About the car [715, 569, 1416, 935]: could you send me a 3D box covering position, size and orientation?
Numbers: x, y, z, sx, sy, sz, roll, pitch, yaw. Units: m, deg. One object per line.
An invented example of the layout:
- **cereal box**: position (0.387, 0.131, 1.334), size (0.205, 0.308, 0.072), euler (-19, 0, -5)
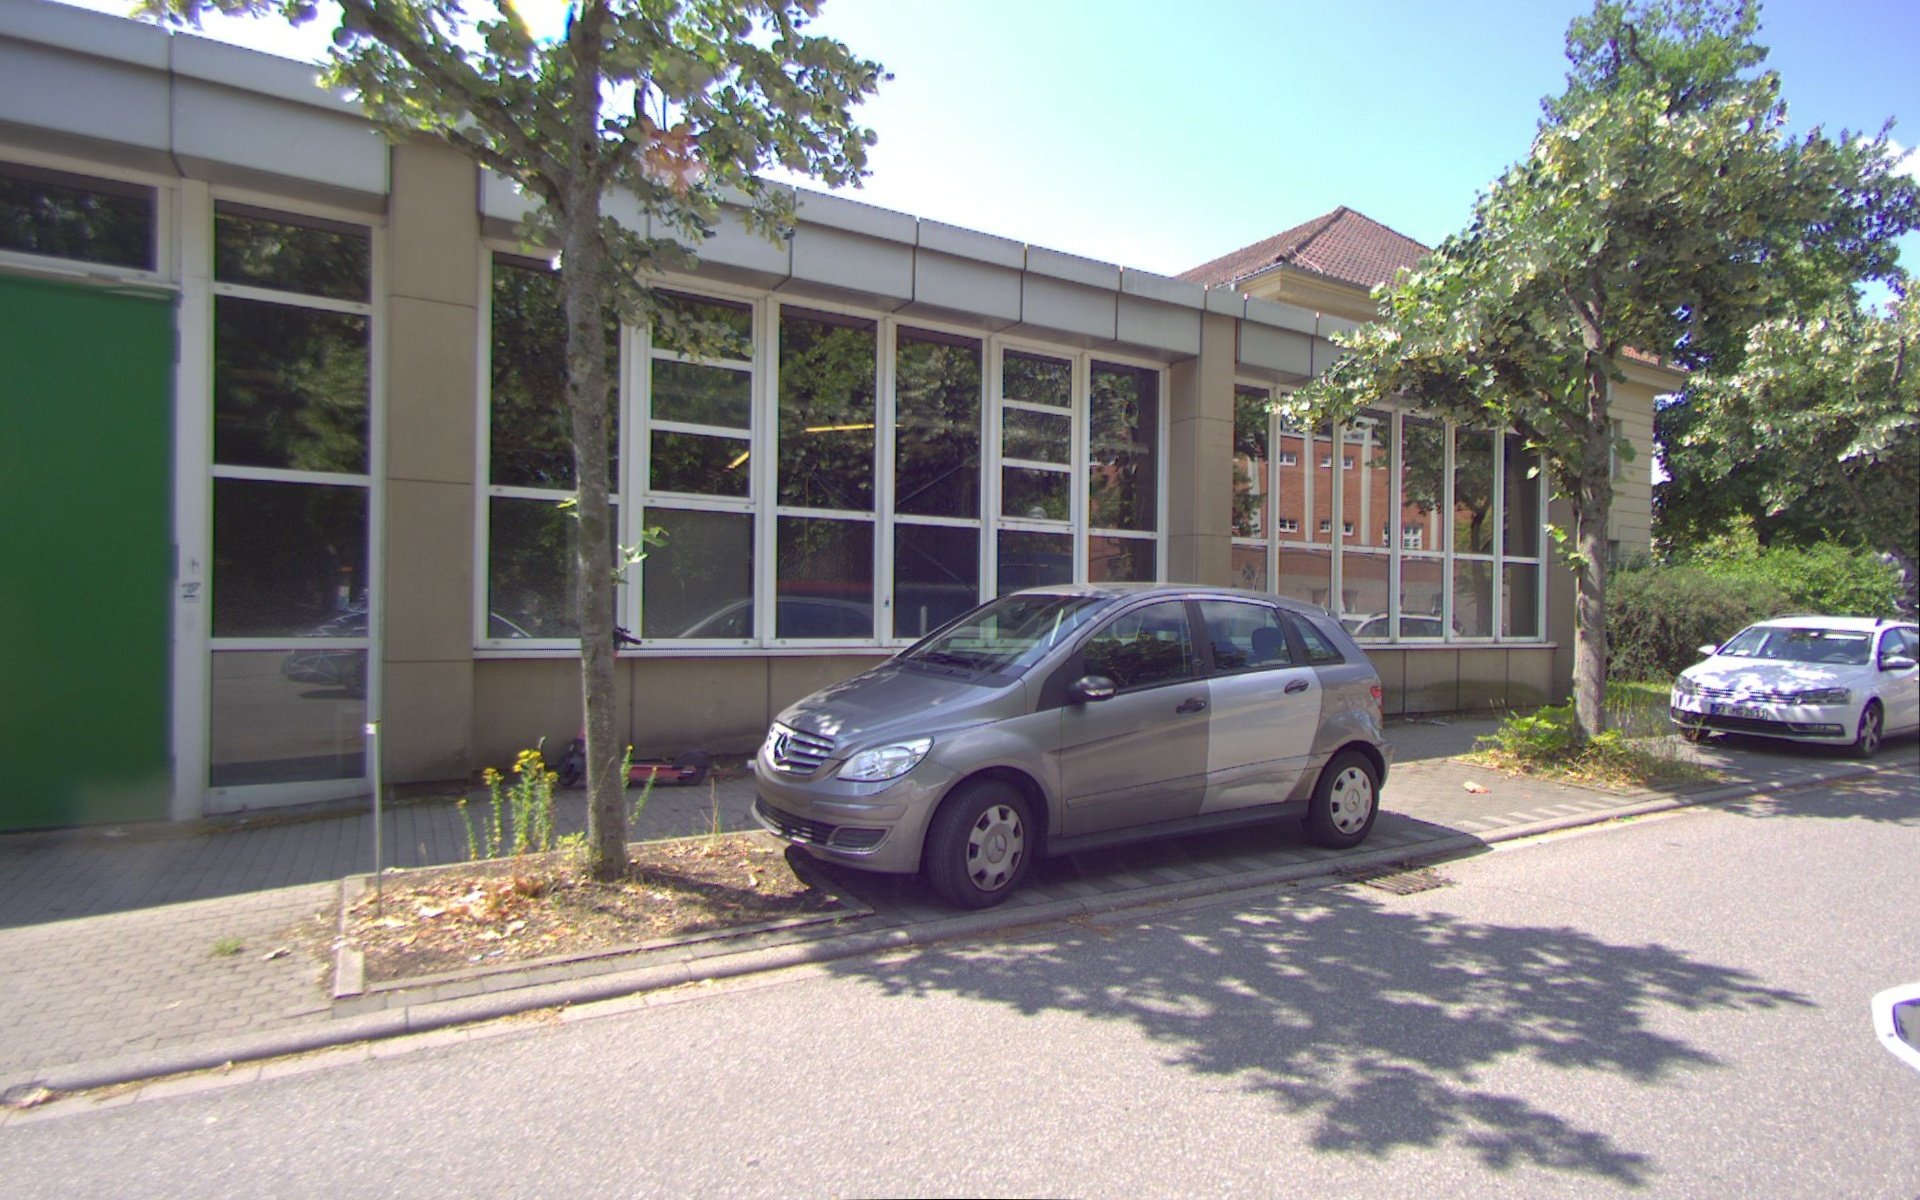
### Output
- **car**: position (0.765, 0.673, 6.180), size (4.068, 1.577, 1.747), euler (1, 1, -32)

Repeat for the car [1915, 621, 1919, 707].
- **car**: position (17.394, 1.064, 16.192), size (4.114, 1.362, 1.717), euler (1, 1, -29)

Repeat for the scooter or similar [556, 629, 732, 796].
- **scooter or similar**: position (-2.439, 0.830, 7.772), size (1.201, 1.185, 0.503), euler (1, 1, -30)

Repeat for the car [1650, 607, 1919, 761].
- **car**: position (10.262, 0.885, 11.954), size (4.533, 1.476, 1.715), euler (1, 1, -32)
